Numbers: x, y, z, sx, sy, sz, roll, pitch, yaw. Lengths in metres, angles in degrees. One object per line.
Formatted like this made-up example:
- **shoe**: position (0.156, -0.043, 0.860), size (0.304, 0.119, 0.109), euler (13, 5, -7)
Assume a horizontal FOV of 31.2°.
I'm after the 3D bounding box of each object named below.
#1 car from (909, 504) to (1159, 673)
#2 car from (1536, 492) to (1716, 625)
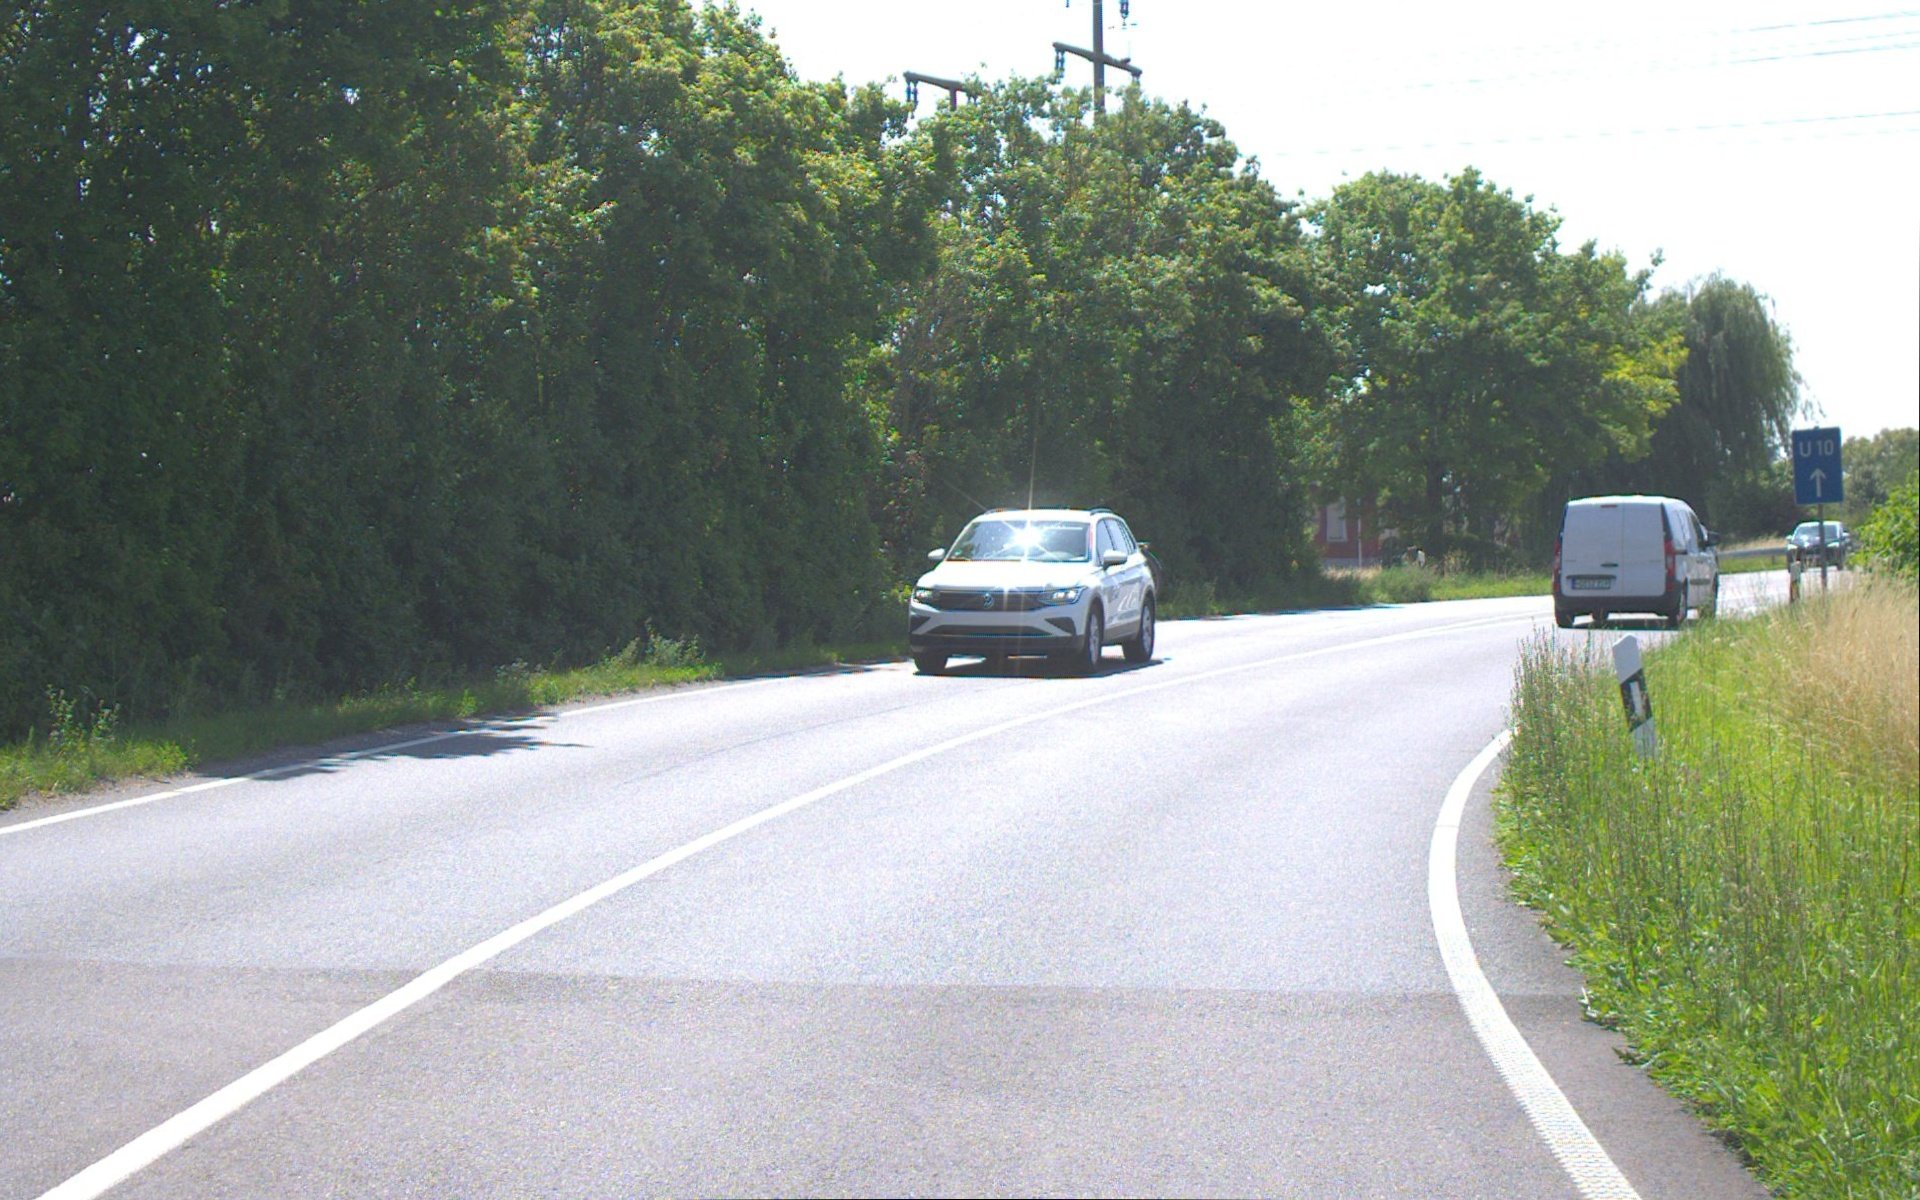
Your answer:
- **car**: position (0.845, -0.167, 35.615), size (1.856, 1.596, 4.776), euler (1, 1, 10)
- **car**: position (9.321, -0.578, 47.914), size (1.905, 1.726, 3.819), euler (-1, 0, 19)
